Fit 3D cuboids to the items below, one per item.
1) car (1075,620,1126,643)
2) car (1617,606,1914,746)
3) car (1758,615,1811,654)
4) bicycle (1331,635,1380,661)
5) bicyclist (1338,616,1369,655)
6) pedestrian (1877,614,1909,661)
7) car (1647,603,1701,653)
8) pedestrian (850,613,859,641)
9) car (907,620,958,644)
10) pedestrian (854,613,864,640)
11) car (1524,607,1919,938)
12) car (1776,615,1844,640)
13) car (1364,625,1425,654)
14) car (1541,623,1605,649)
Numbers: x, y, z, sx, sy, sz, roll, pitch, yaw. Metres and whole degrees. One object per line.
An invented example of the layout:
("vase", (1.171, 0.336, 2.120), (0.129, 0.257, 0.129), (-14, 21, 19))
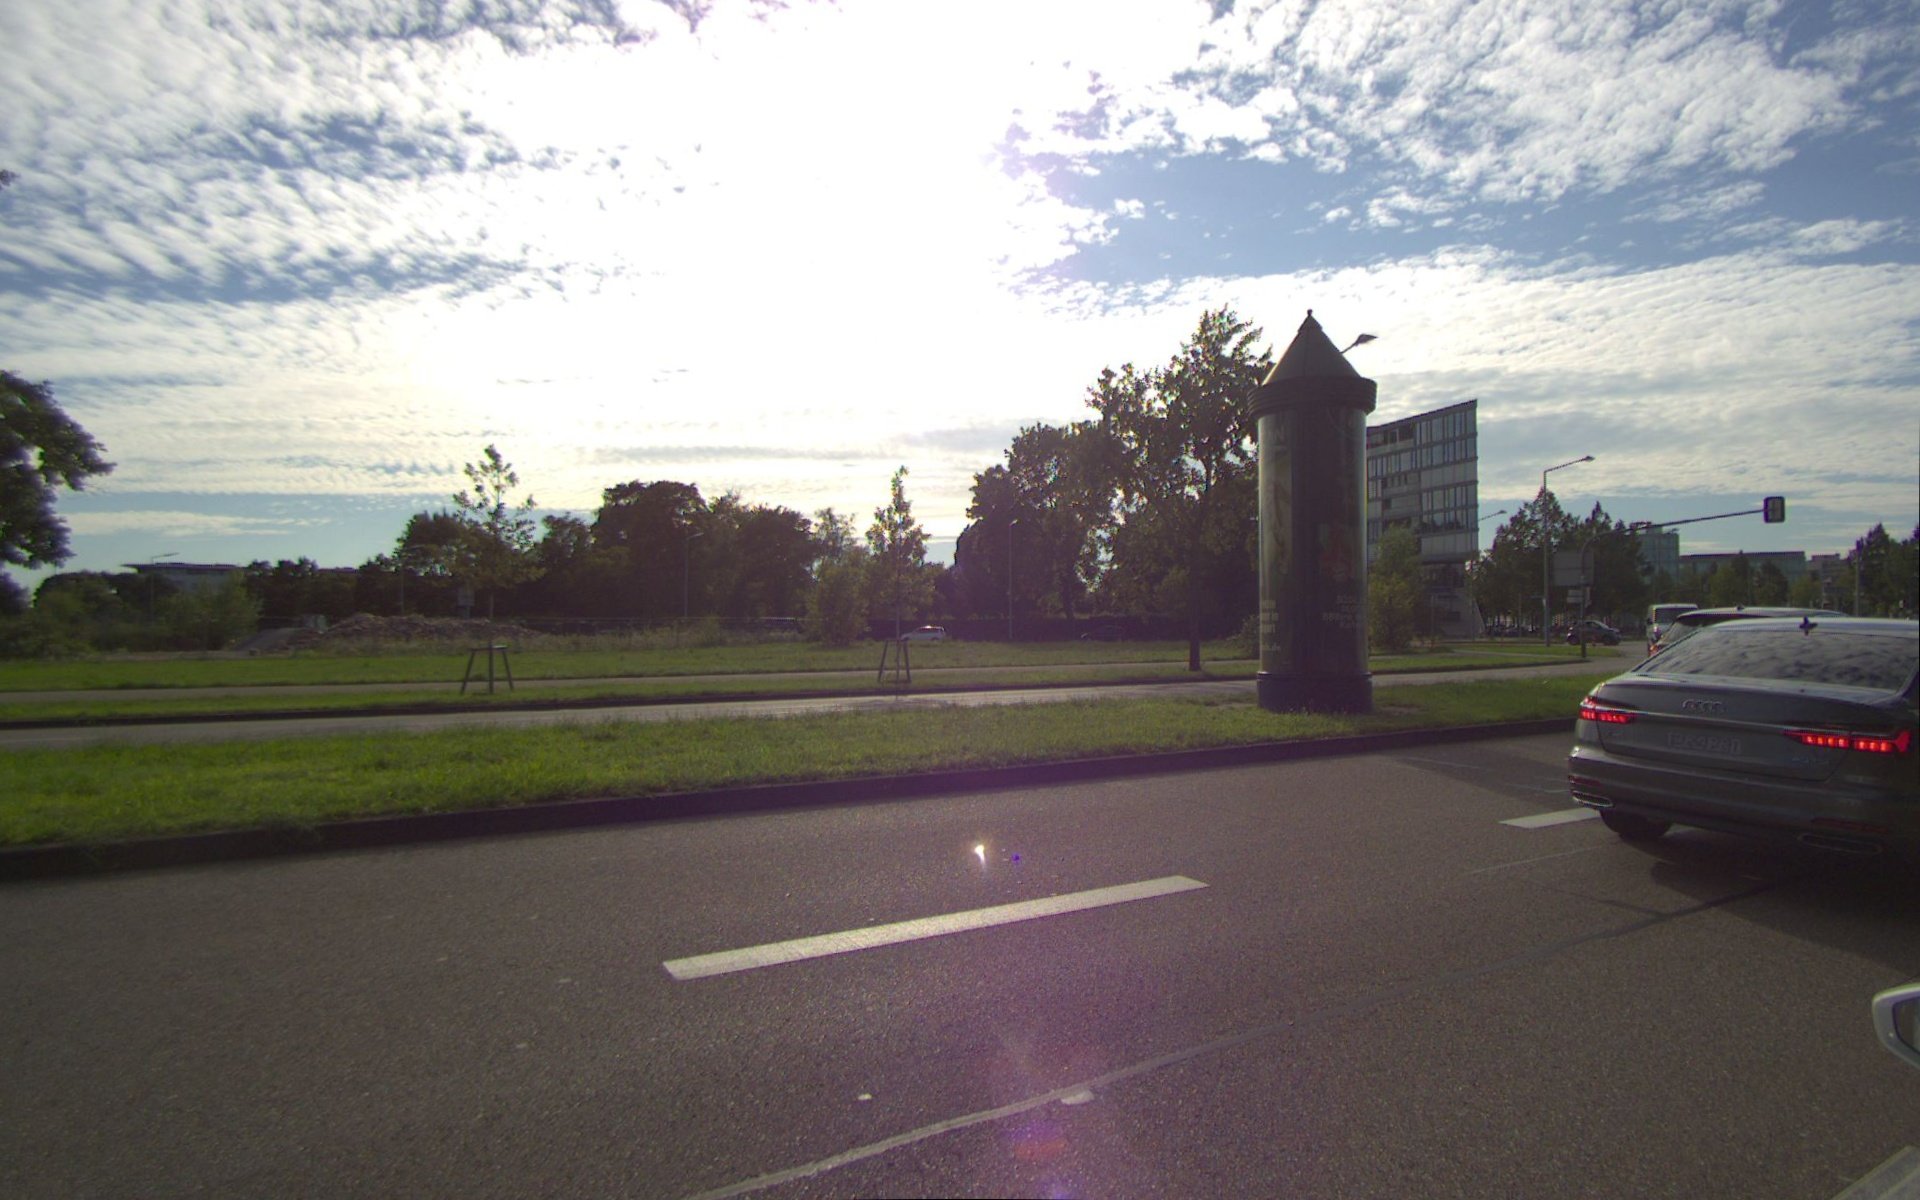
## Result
("car", (11.492, 2.558, 81.860), (3.919, 1.750, 1.850), (-2, -3, 13))
("car", (10.508, 0.879, 13.061), (3.971, 1.579, 1.721), (1, 0, -30))
("car", (36.125, 1.531, 44.032), (1.685, 1.594, 3.982), (-3, -4, 39))
("bicycle", (16.087, 1.941, 40.872), (1.889, 0.994, 0.890), (0, -2, -31))
("bicyclist", (15.991, 1.432, 40.817), (0.978, 1.546, 0.702), (0, -2, -31))
("pedestrian", (31.773, 1.276, 34.211), (0.609, 1.589, 0.651), (1, -2, -34))
("car", (35.203, 1.397, 49.492), (1.968, 2.264, 5.903), (-3, -3, 36))
("pedestrian", (-7.813, 2.015, 74.583), (0.675, 2.040, 0.641), (0, -1, -5))
("car", (-2.332, 2.700, 85.165), (3.919, 1.825, 2.001), (3, -1, 10))
("pedestrian", (-7.574, 2.012, 75.403), (0.723, 2.040, 0.739), (0, -1, -6))
("car", (5.909, 0.832, 6.555), (4.559, 1.502, 1.880), (1, 0, -31))
("car", (69.933, 2.271, 82.670), (4.154, 2.040, 1.827), (1, -2, -3))
("car", (33.204, 3.009, 76.776), (3.919, 2.040, 2.001), (2, 0, 13))
("car", (38.846, 2.316, 63.697), (1.564, 1.594, 3.157), (3, -4, -44))
